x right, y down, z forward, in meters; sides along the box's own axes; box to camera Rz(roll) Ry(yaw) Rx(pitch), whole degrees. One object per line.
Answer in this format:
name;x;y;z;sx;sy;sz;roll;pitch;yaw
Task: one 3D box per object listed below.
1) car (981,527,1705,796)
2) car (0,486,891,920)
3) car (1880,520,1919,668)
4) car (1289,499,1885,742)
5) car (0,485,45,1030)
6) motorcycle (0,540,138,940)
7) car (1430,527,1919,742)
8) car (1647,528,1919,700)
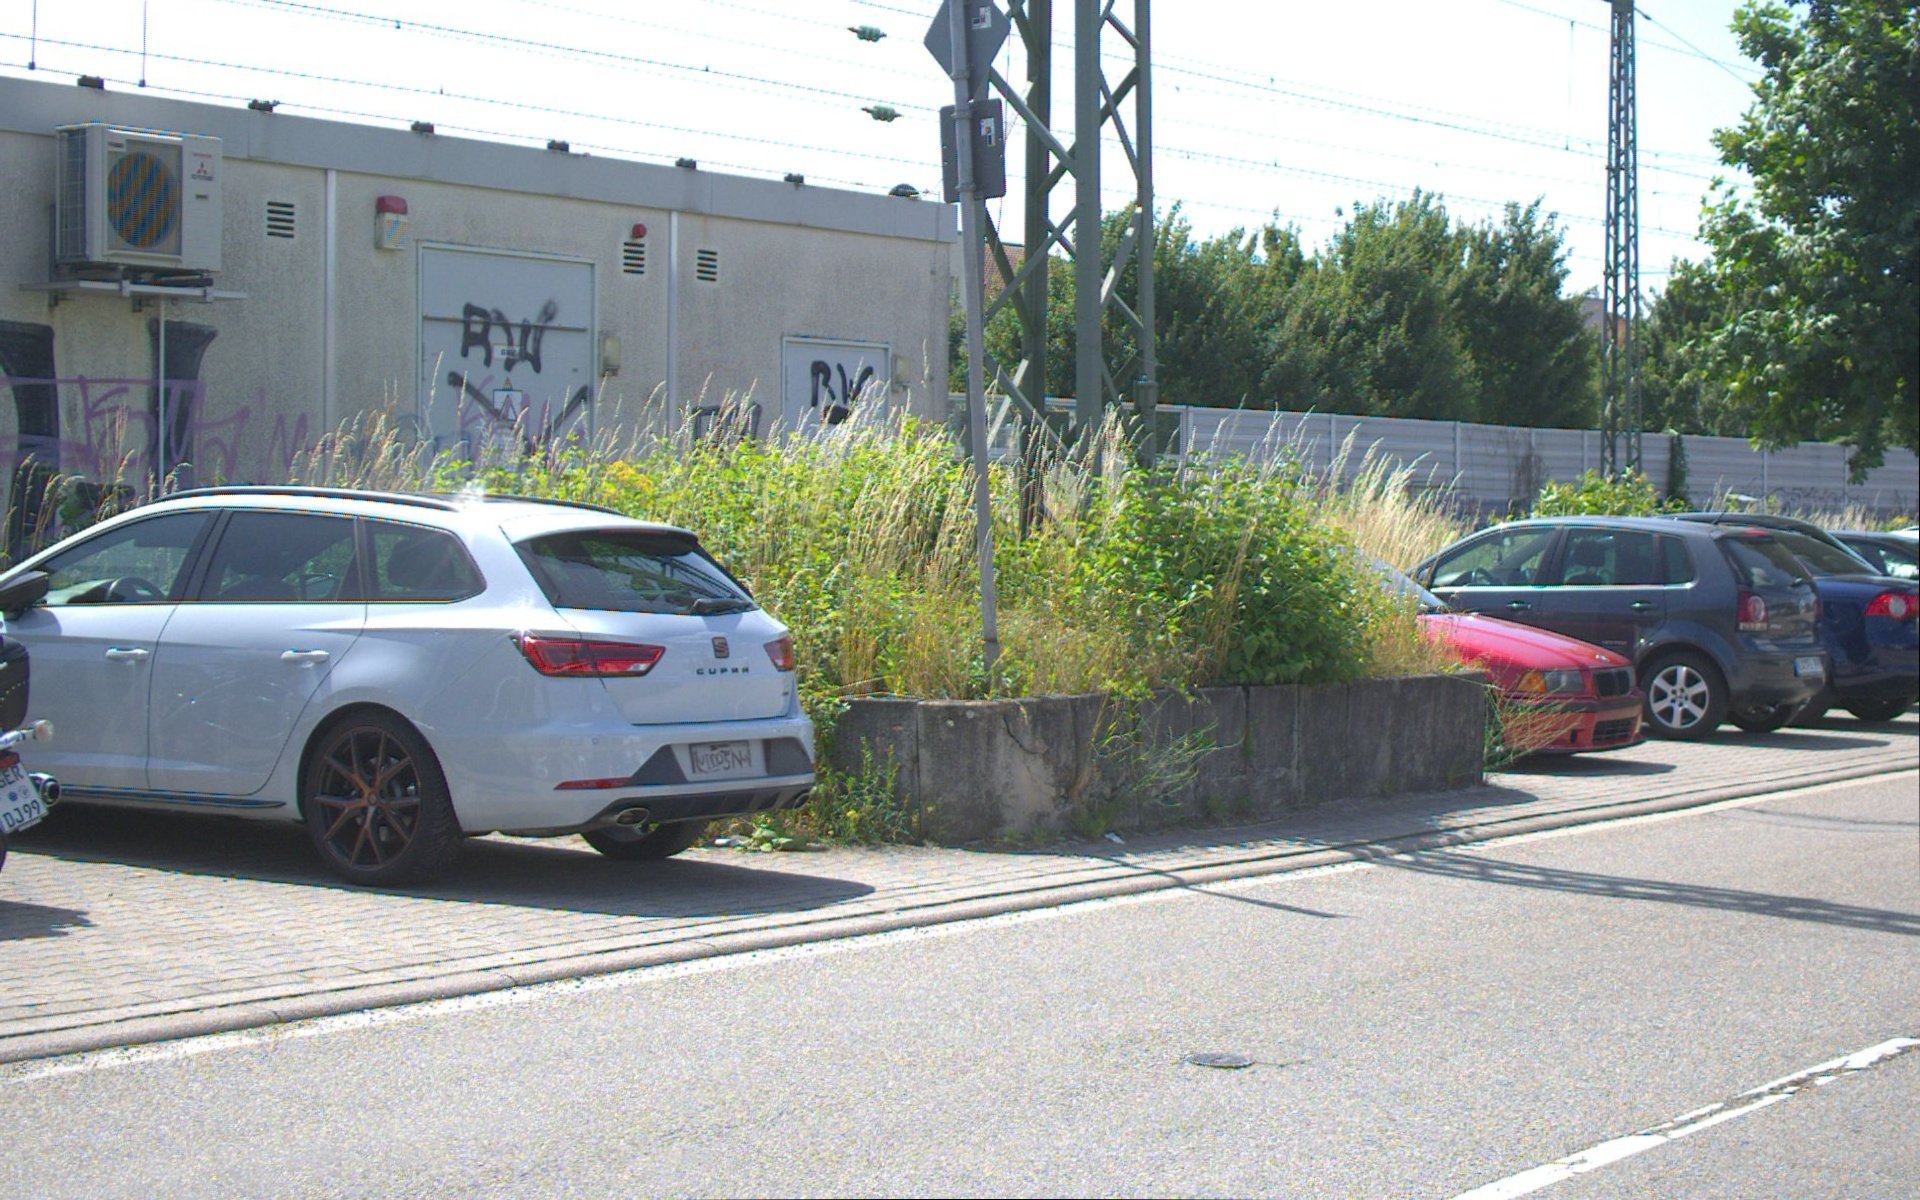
car;2.296;0.305;21.069;4.081;1.364;1.671;3;3;34
car;-2.485;0.300;13.594;4.081;1.397;1.783;3;2;32
car;11.935;-0.003;35.385;4.346;1.527;1.922;3;3;34
car;4.349;0.093;23.973;3.673;1.442;1.681;4;3;32
car;-4.768;0.378;9.264;4.433;1.406;1.785;1;1;28
motorcycle;-4.086;0.421;11.921;2.729;1.276;0.716;1;1;33
car;5.719;0.208;25.867;3.954;1.445;1.783;2;2;38
car;8.439;0.118;30.828;4.081;1.467;1.783;1;1;34
